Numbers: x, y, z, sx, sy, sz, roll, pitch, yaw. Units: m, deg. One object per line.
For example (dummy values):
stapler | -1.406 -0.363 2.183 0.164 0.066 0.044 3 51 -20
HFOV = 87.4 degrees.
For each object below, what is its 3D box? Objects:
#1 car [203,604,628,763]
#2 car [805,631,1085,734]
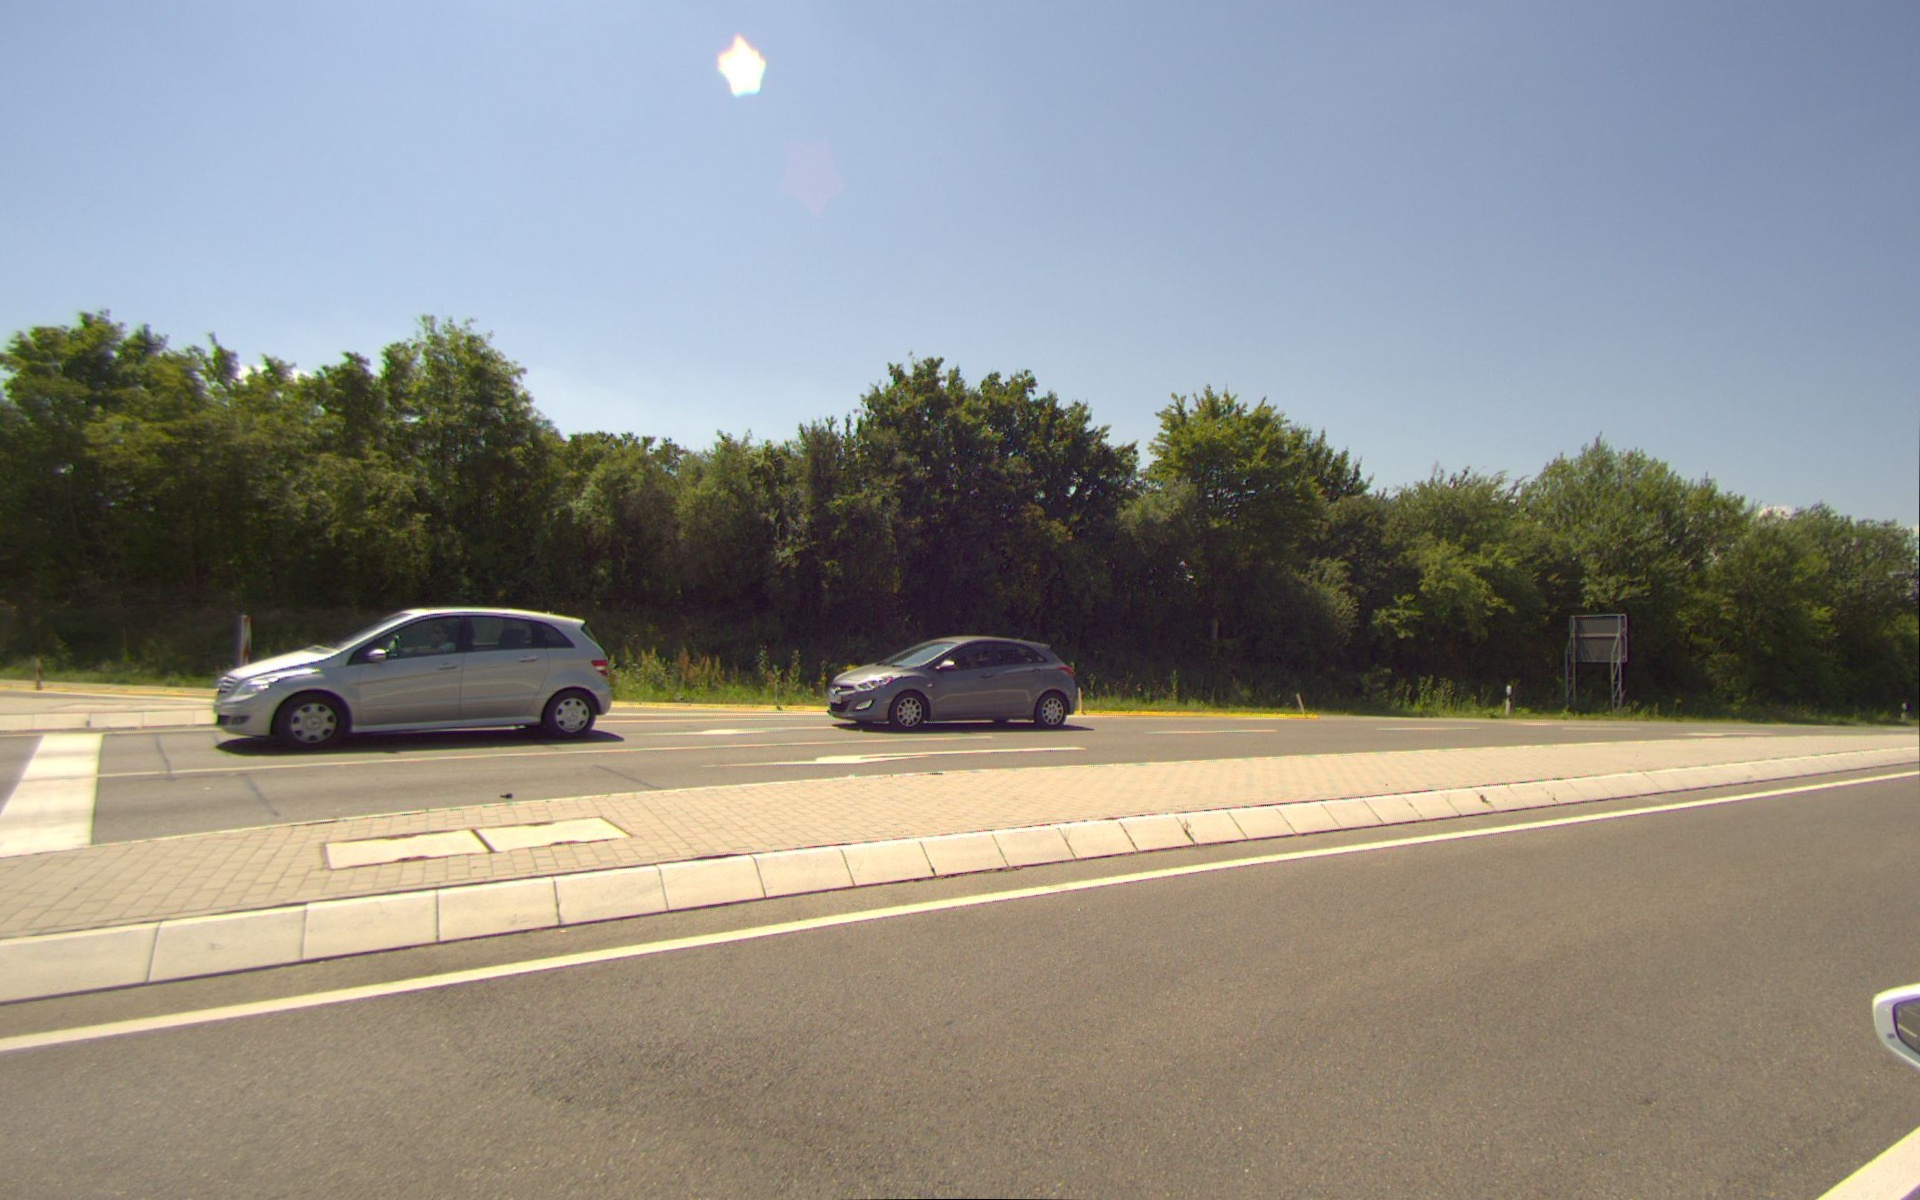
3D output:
car | -6.491 0.924 12.254 4.294 1.616 1.757 2 -2 -40
car | -0.187 1.311 16.247 4.280 1.475 1.683 3 -4 -31
